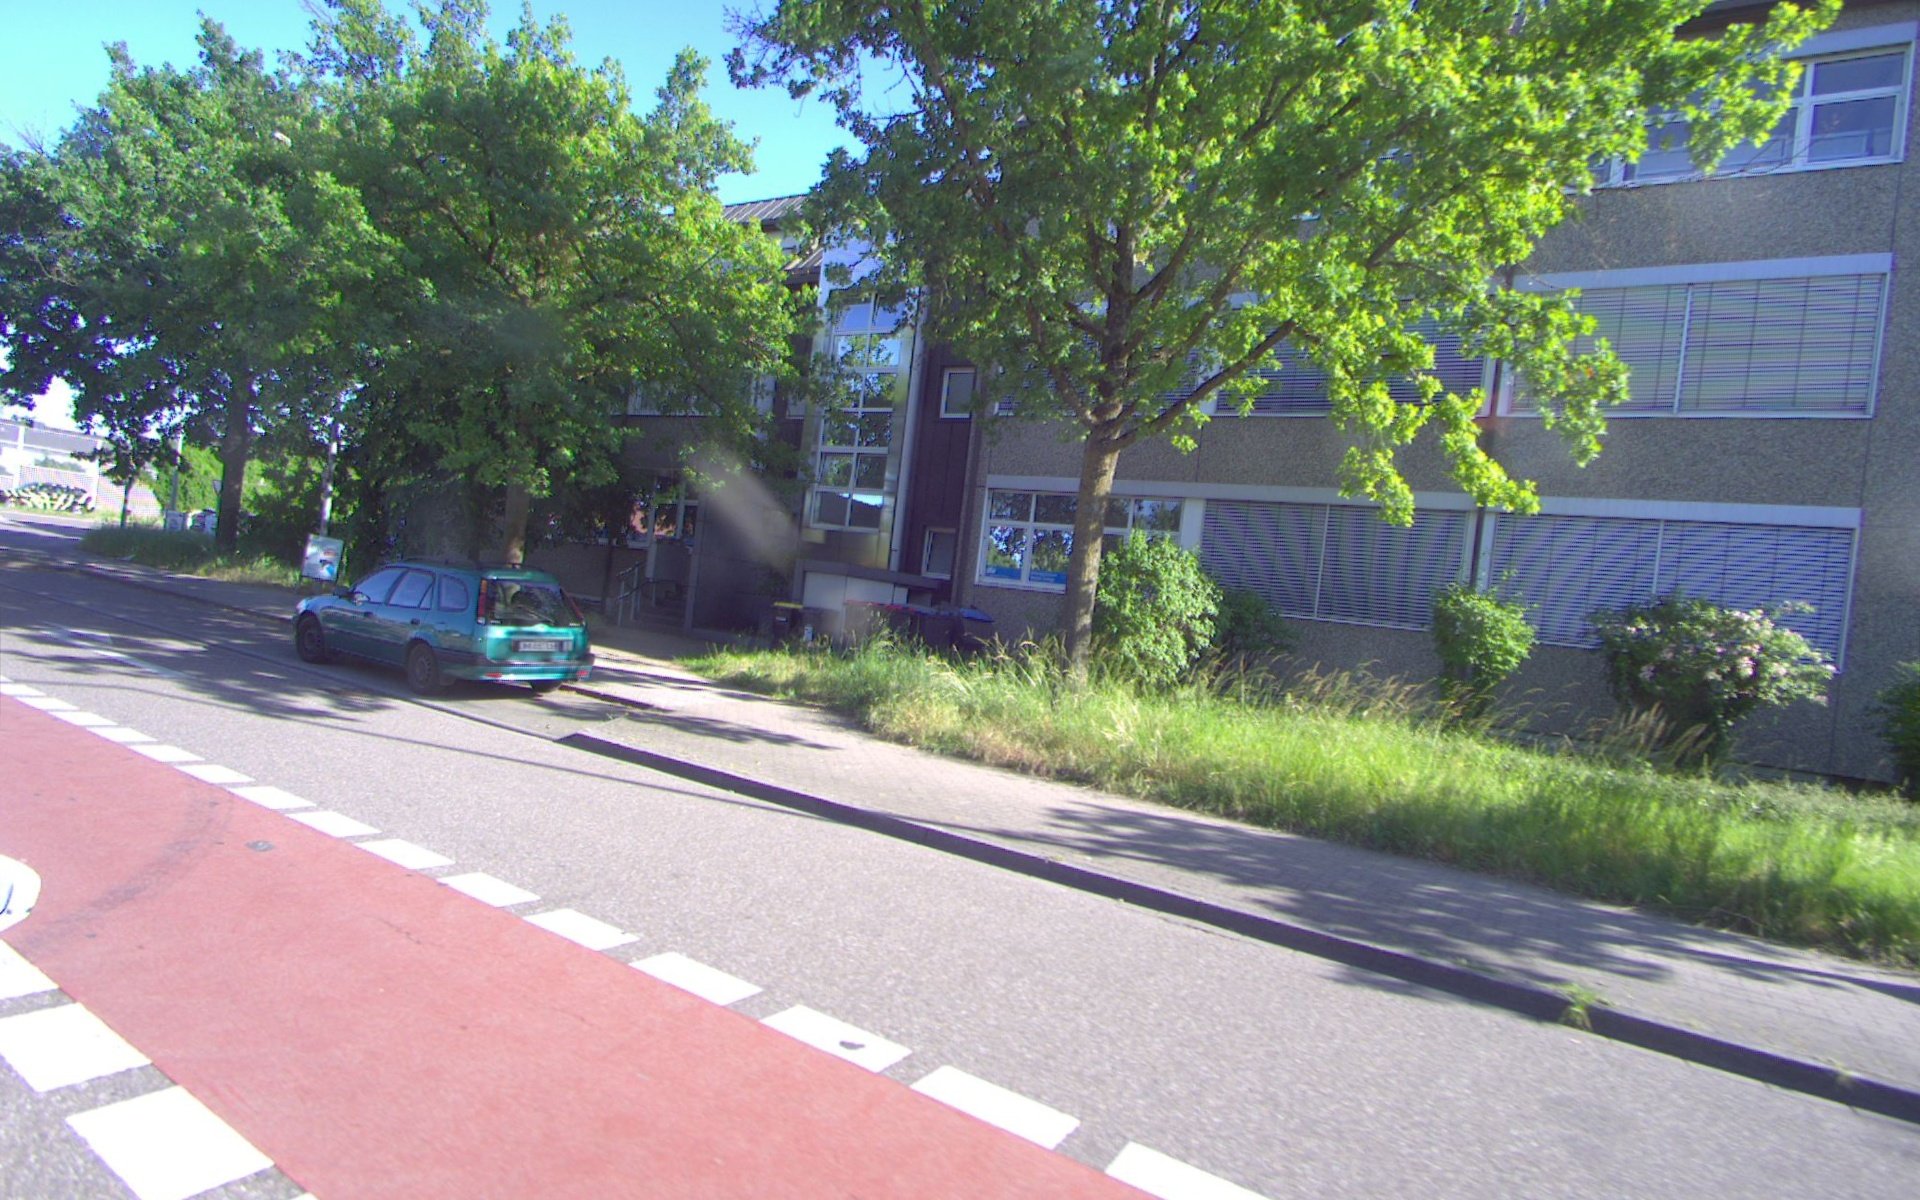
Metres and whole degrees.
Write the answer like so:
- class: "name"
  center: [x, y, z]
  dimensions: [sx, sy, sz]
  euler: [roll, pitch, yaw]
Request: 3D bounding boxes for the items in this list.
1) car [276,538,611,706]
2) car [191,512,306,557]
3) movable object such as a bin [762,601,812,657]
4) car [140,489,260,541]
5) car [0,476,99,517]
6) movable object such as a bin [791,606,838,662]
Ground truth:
- class: "car"
  center: [-6.187, 0.199, 11.902]
  dimensions: [4.135, 1.447, 1.593]
  euler: [6, 1, 33]
- class: "car"
  center: [-35.033, -3.194, 49.663]
  dimensions: [1.732, 1.497, 4.234]
  euler: [6, -2, 27]
- class: "movable object such as a bin"
  center: [-3.526, 0.588, 20.540]
  dimensions: [0.571, 1.045, 0.713]
  euler: [7, 0, 31]
- class: "car"
  center: [-27.697, -3.066, 36.775]
  dimensions: [1.433, 1.310, 3.412]
  euler: [7, -2, 7]
- class: "car"
  center: [-45.451, -5.142, 49.602]
  dimensions: [1.548, 1.317, 4.171]
  euler: [6, -2, 28]
- class: "movable object such as a bin"
  center: [-2.914, 0.688, 20.202]
  dimensions: [0.566, 1.019, 0.629]
  euler: [6, -1, 31]
